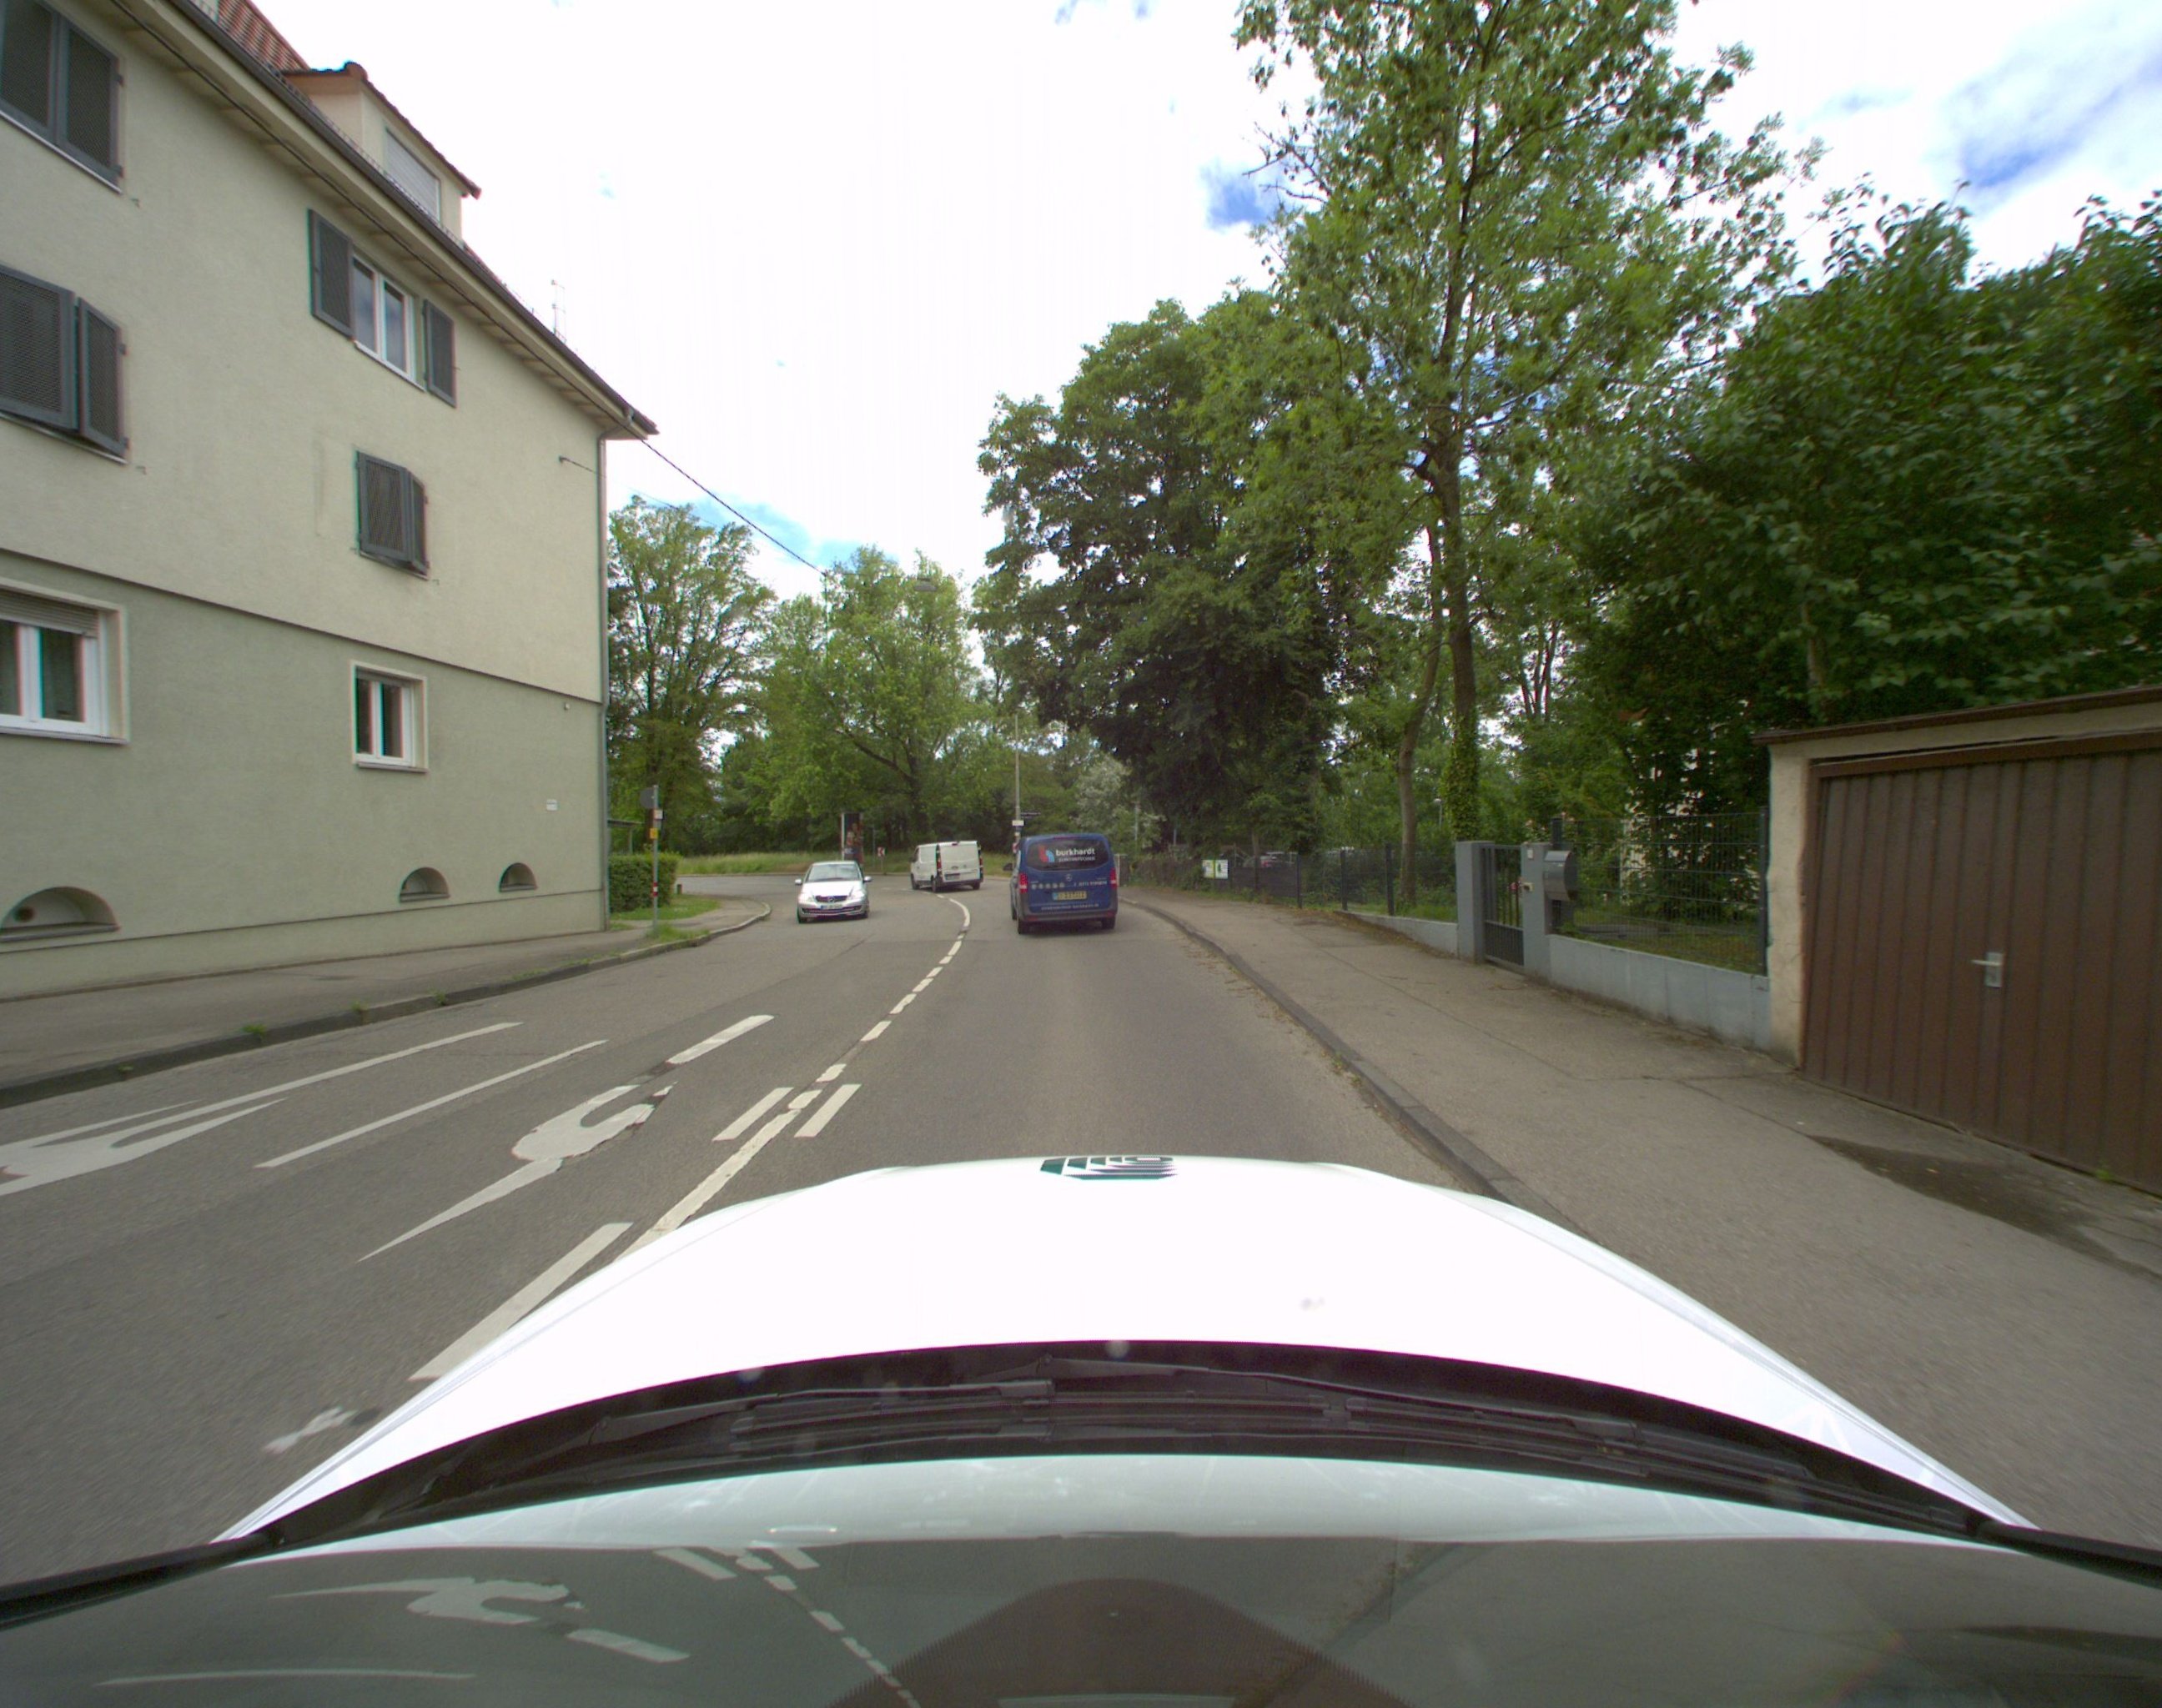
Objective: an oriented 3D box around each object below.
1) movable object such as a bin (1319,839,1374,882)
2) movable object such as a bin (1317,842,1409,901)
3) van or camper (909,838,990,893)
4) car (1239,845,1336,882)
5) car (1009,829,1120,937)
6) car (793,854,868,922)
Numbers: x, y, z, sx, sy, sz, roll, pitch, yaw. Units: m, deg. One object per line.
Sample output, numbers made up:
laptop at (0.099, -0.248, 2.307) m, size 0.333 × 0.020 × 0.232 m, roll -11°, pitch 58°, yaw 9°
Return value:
movable object such as a bin at (10.211, 0.230, 31.376) m, size 1.421 × 1.547 × 1.670 m, roll -1°, pitch 1°, yaw -10°
movable object such as a bin at (9.161, 0.542, 26.589) m, size 2.101 × 1.787 × 2.203 m, roll -1°, pitch 0°, yaw -6°
van or camper at (-5.499, 0.440, 33.469) m, size 2.029 × 1.956 × 4.858 m, roll -4°, pitch 1°, yaw -23°
car at (9.084, 0.435, 35.925) m, size 3.666 × 1.398 × 1.822 m, roll 3°, pitch -1°, yaw -15°
car at (-0.462, 0.508, 16.743) m, size 1.910 × 1.837 × 4.286 m, roll -3°, pitch 0°, yaw -5°
car at (-6.968, 0.870, 22.595) m, size 1.727 × 1.605 × 3.952 m, roll -4°, pitch 1°, yaw -18°
